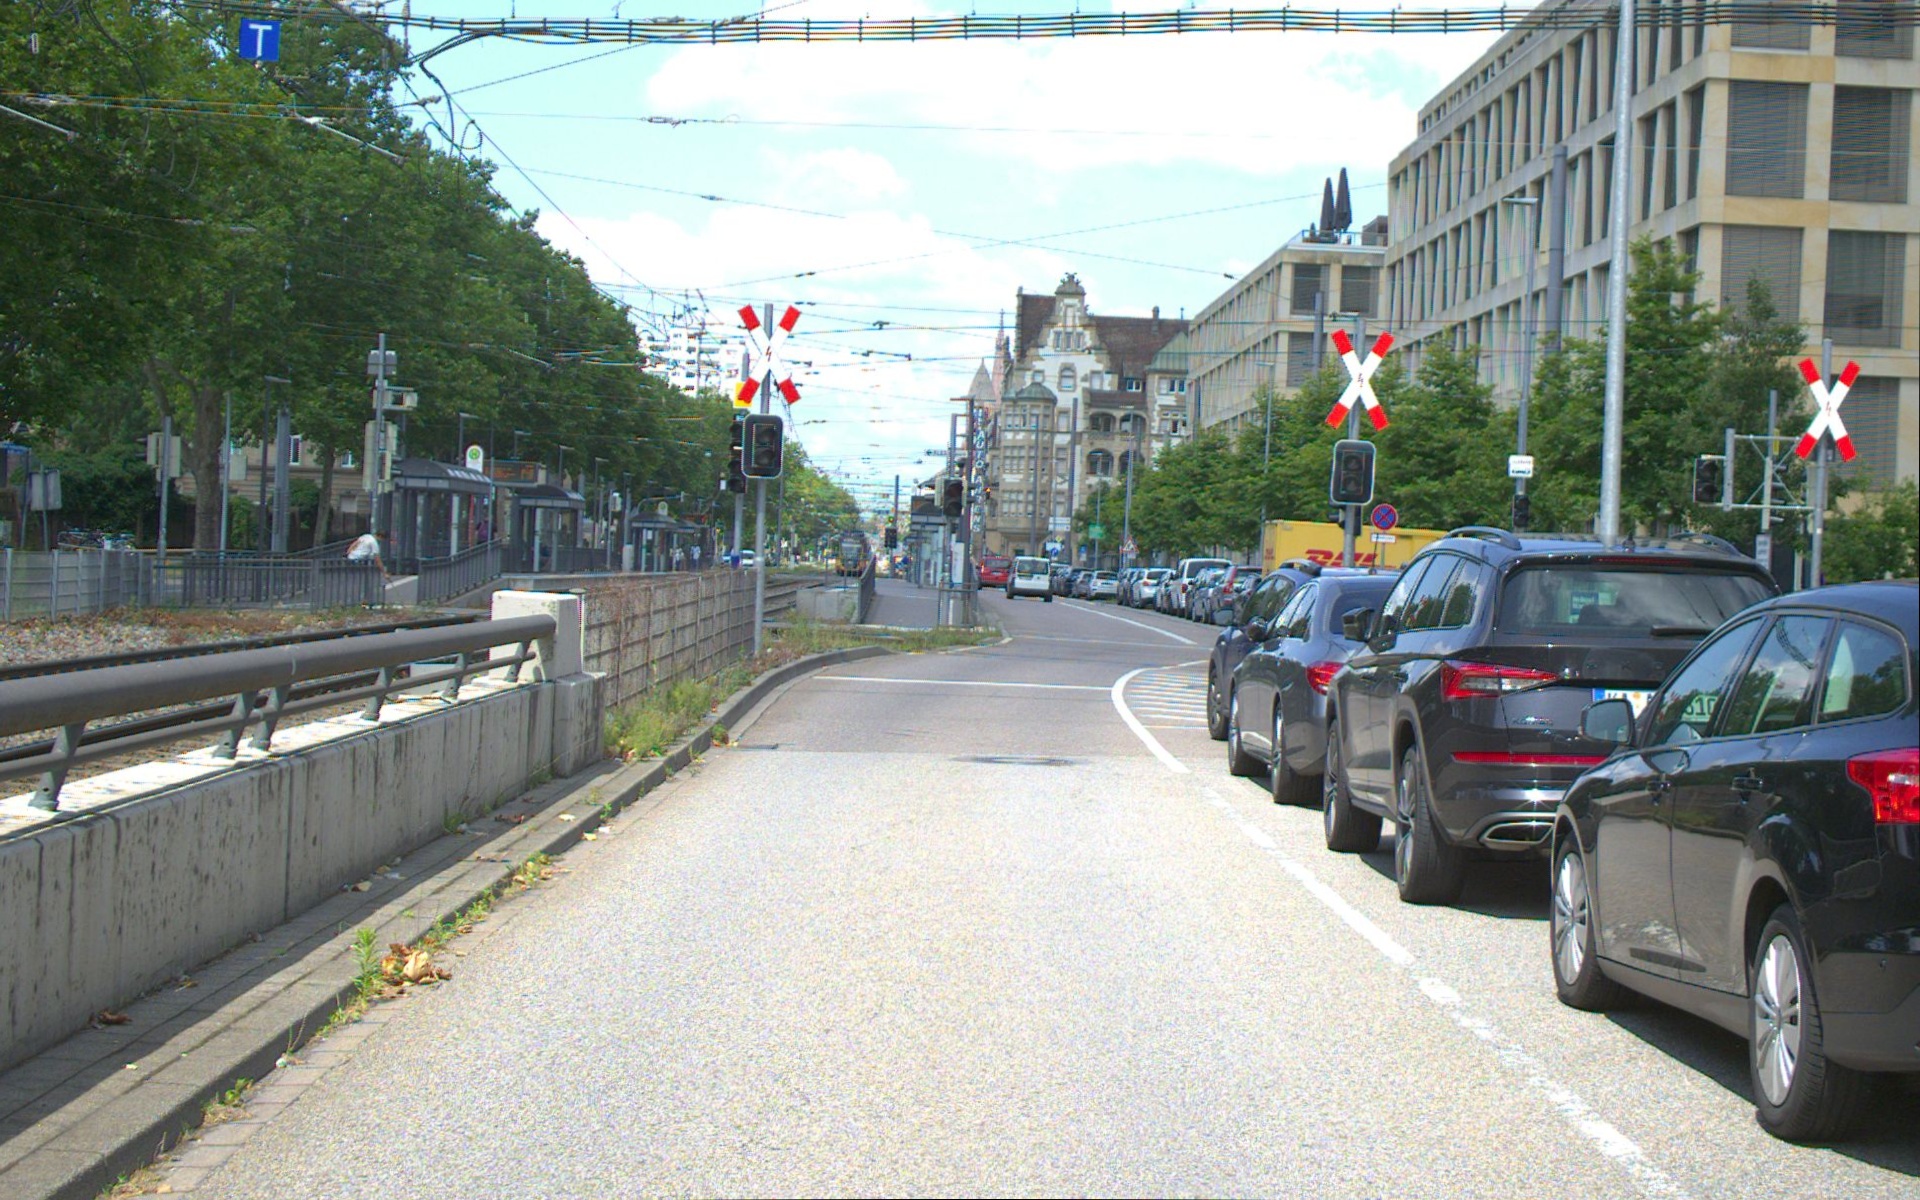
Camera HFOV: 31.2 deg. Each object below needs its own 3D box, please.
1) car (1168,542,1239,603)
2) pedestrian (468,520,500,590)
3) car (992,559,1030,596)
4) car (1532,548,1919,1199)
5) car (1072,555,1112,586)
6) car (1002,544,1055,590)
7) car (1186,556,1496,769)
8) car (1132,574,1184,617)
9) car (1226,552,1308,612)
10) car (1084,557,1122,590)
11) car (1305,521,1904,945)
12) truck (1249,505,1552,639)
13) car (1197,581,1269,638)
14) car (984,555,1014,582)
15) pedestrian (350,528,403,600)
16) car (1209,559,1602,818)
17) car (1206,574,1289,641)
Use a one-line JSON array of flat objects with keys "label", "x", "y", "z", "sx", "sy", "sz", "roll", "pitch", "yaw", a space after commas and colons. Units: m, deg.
[{"label": "car", "x": 8.091, "y": -0.926, "z": 114.415, "sx": 1.881, "sy": 1.932, "sz": 4.843, "roll": 2, "pitch": 0, "yaw": -1}, {"label": "pedestrian", "x": -12.695, "y": -1.189, "z": 91.692, "sx": 0.706, "sy": 1.839, "sz": 0.864, "roll": 1, "pitch": 0, "yaw": -2}, {"label": "car", "x": 2.837, "y": -1.280, "z": 192.694, "sx": 1.993, "sy": 2.007, "sz": 4.000, "roll": 1, "pitch": 0, "yaw": -1}, {"label": "car", "x": 2.873, "y": 0.651, "z": 10.090, "sx": 1.644, "sy": 1.525, "sz": 4.442, "roll": 2, "pitch": 0, "yaw": 1}, {"label": "car", "x": 6.877, "y": -1.547, "z": 179.237, "sx": 1.591, "sy": 1.429, "sz": 4.107, "roll": 5, "pitch": 0, "yaw": -3}, {"label": "car", "x": 2.833, "y": -1.355, "z": 142.602, "sx": 1.868, "sy": 1.740, "sz": 4.000, "roll": 4, "pitch": 0, "yaw": -2}, {"label": "car", "x": 2.973, "y": 0.441, "z": 27.715, "sx": 1.779, "sy": 1.535, "sz": 4.421, "roll": 2, "pitch": 1, "yaw": -3}, {"label": "car", "x": 7.792, "y": -0.181, "z": 135.298, "sx": 1.685, "sy": 1.600, "sz": 4.152, "roll": 2, "pitch": 0, "yaw": -1}, {"label": "car", "x": 8.239, "y": -0.485, "z": 92.500, "sx": 1.691, "sy": 1.499, "sz": 4.068, "roll": 3, "pitch": 0, "yaw": -1}, {"label": "car", "x": 6.988, "y": -1.297, "z": 168.004, "sx": 1.591, "sy": 1.455, "sz": 3.613, "roll": 4, "pitch": 1, "yaw": 0}, {"label": "car", "x": 2.825, "y": 0.500, "z": 16.158, "sx": 1.816, "sy": 1.656, "sz": 4.671, "roll": 2, "pitch": 1, "yaw": -1}, {"label": "truck", "x": 10.606, "y": -0.661, "z": 83.142, "sx": 6.805, "sy": 2.857, "sz": 2.455, "roll": 3, "pitch": 0, "yaw": -3}, {"label": "car", "x": 8.165, "y": 0.269, "z": 103.059, "sx": 1.721, "sy": 1.614, "sz": 3.860, "roll": 3, "pitch": 0, "yaw": -1}, {"label": "car", "x": 2.165, "y": -1.771, "z": 192.848, "sx": 1.443, "sy": 1.465, "sz": 4.093, "roll": 1, "pitch": 0, "yaw": -3}, {"label": "pedestrian", "x": -10.967, "y": -0.673, "z": 64.634, "sx": 0.861, "sy": 1.339, "sz": 0.923, "roll": 1, "pitch": 0, "yaw": -4}, {"label": "car", "x": 2.796, "y": 0.491, "z": 22.667, "sx": 1.816, "sy": 1.449, "sz": 4.991, "roll": 2, "pitch": 1, "yaw": -1}, {"label": "car", "x": 8.141, "y": 0.181, "z": 97.737, "sx": 1.769, "sy": 1.761, "sz": 4.840, "roll": 3, "pitch": 0, "yaw": -1}]
